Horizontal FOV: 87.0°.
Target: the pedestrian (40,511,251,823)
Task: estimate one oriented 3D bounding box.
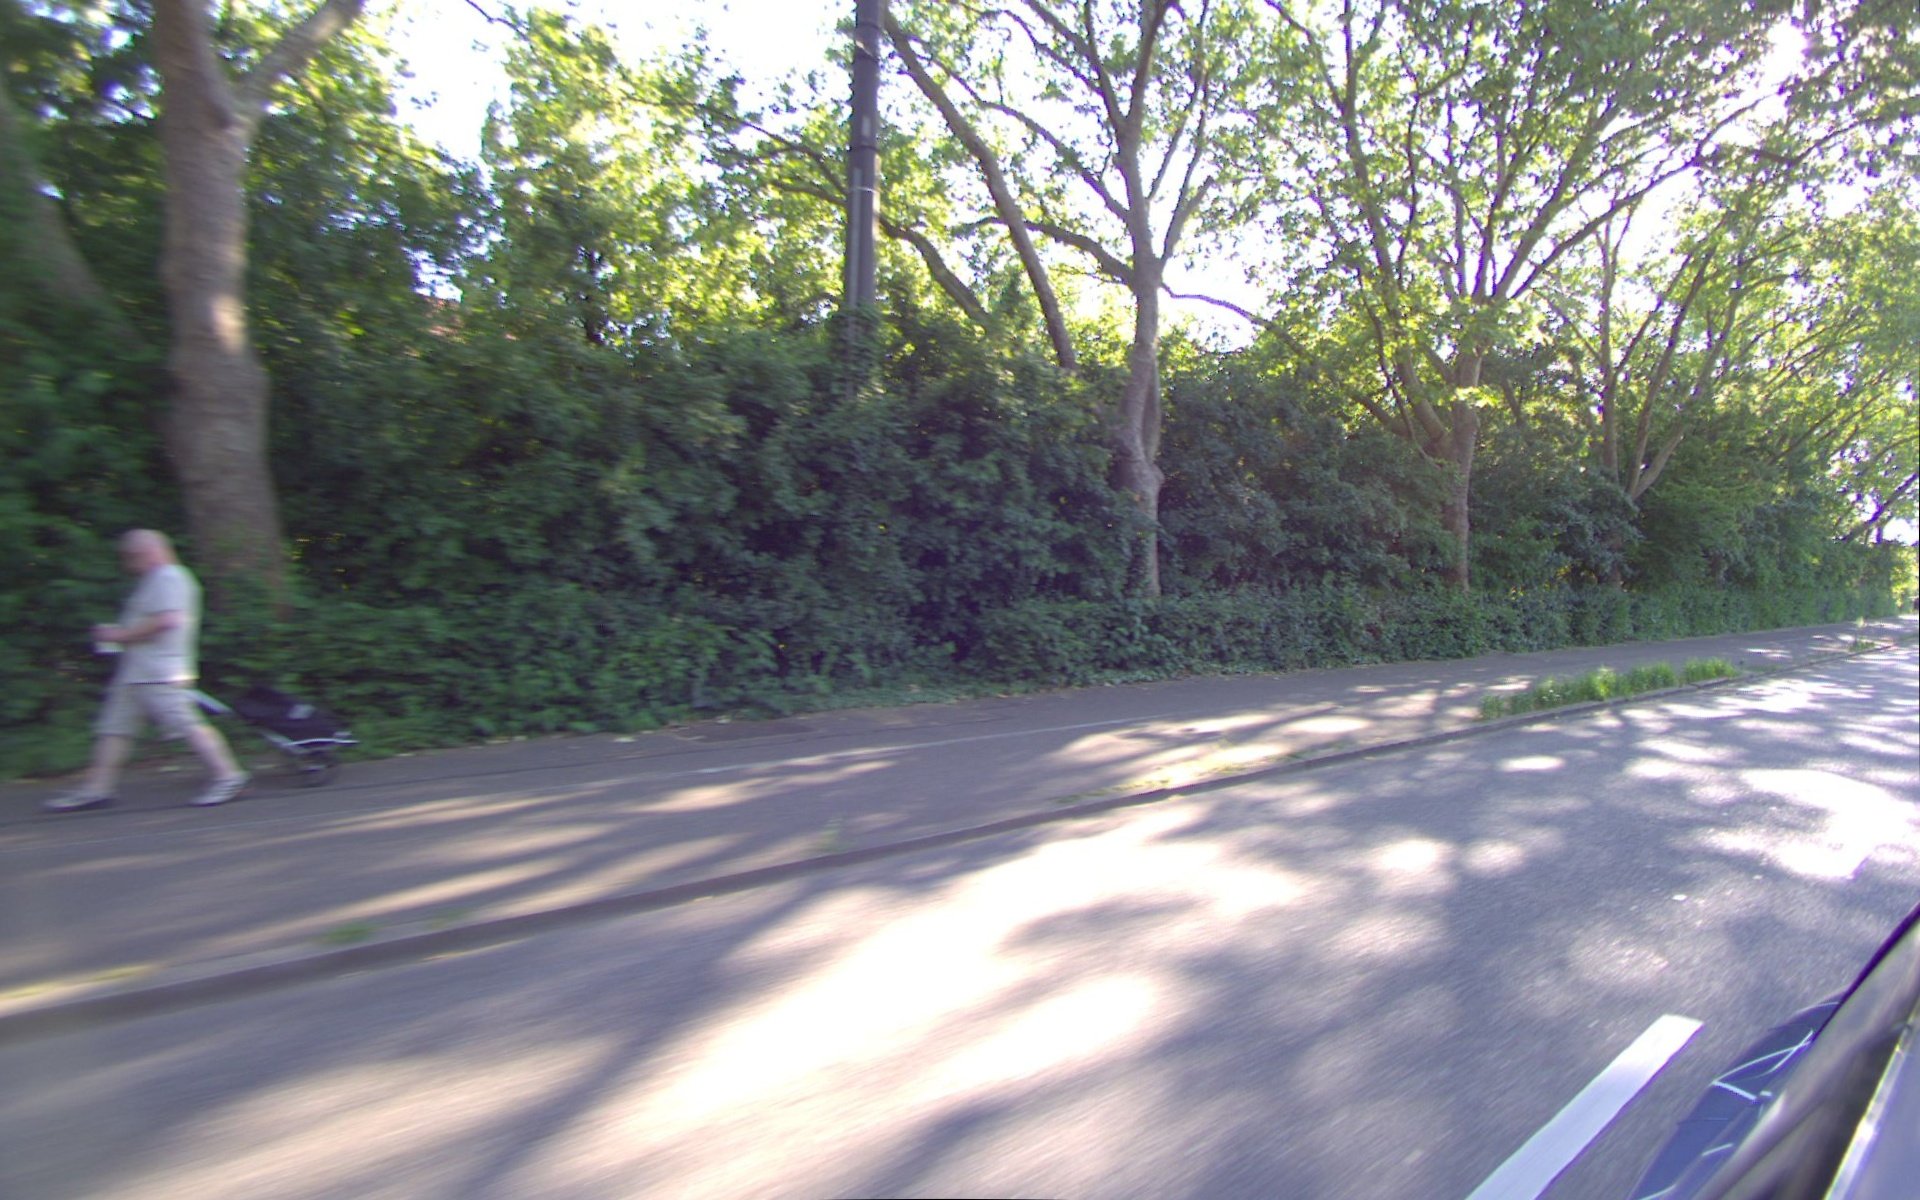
[{"bbox_3d":[-4.724,0.337,5.895,0.911,1.655,0.649,0,3,-41],"label":"pedestrian"}]
